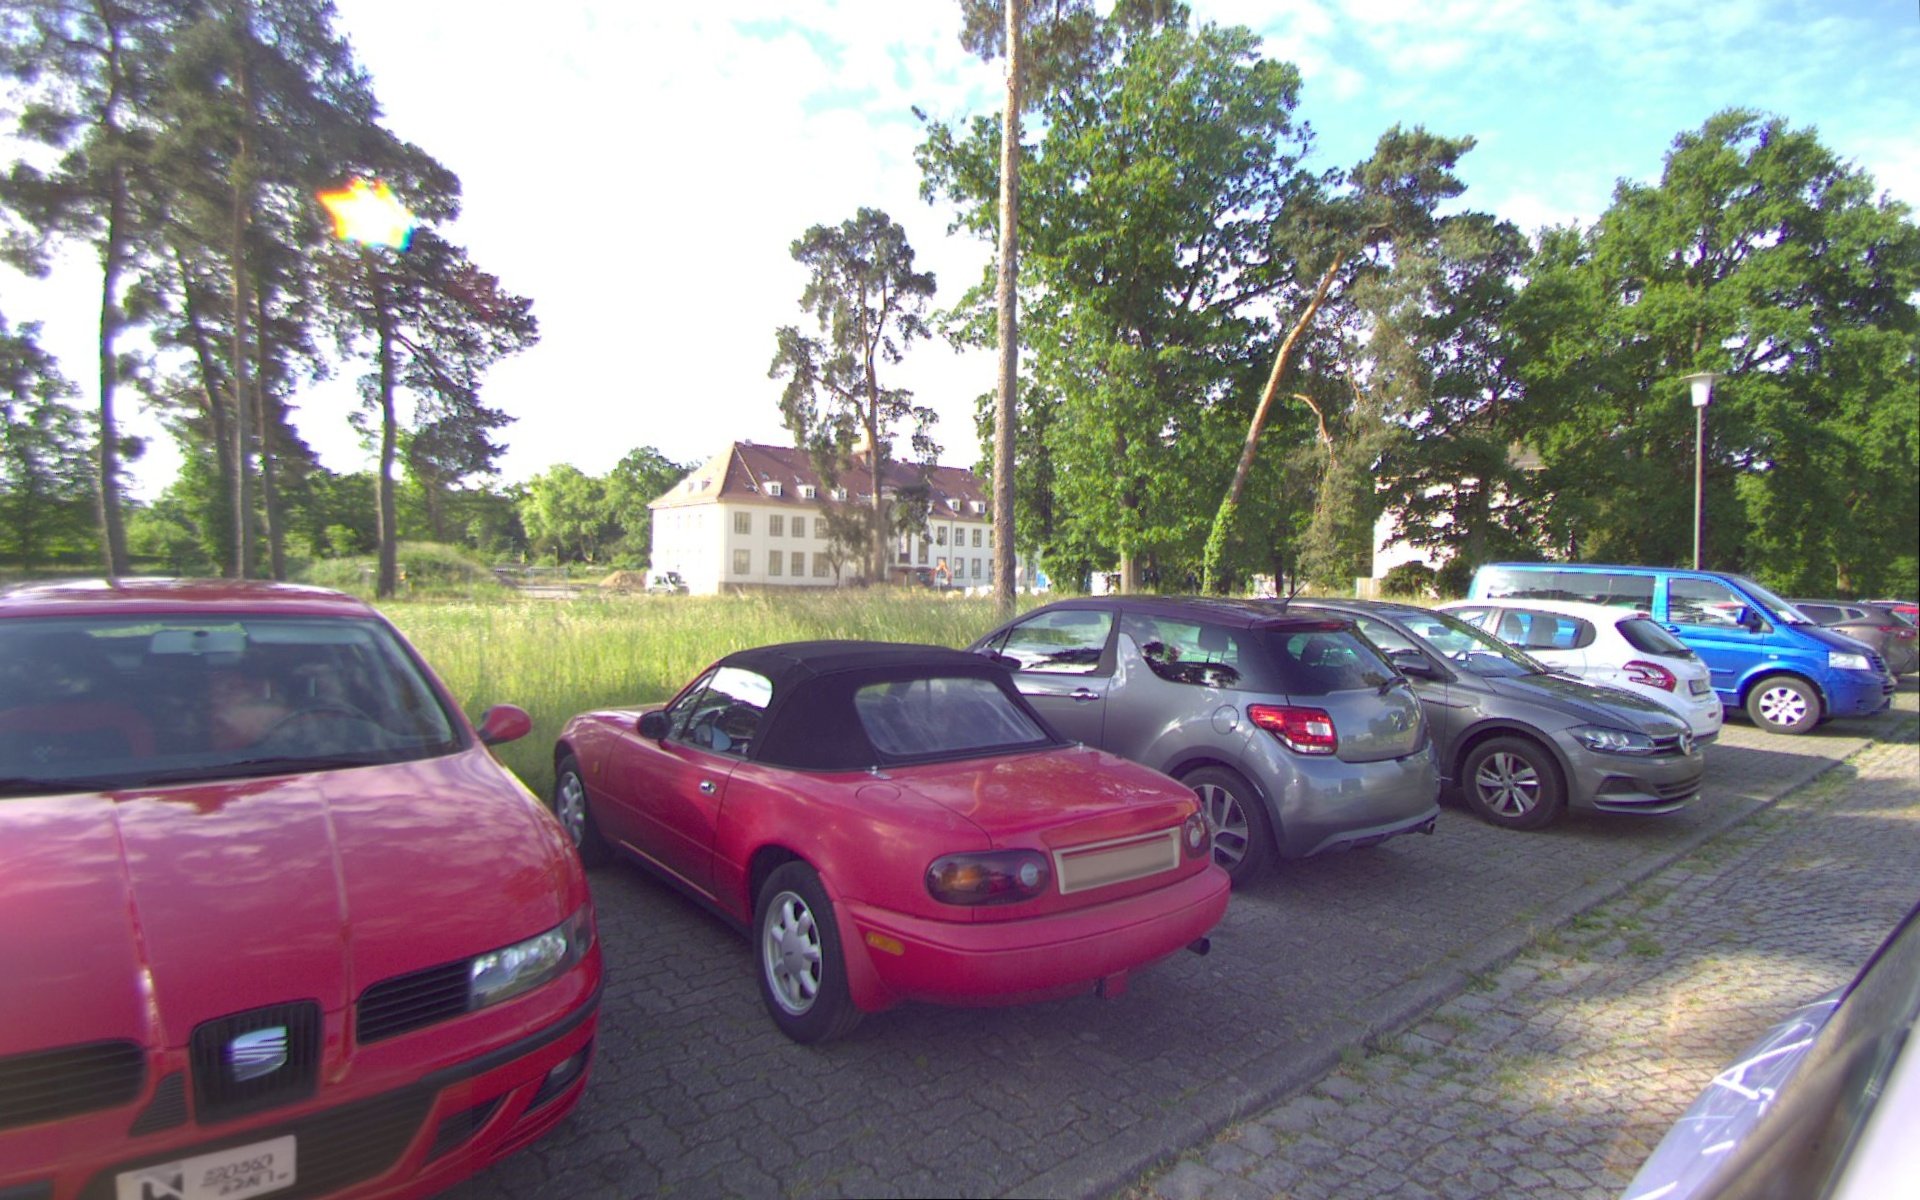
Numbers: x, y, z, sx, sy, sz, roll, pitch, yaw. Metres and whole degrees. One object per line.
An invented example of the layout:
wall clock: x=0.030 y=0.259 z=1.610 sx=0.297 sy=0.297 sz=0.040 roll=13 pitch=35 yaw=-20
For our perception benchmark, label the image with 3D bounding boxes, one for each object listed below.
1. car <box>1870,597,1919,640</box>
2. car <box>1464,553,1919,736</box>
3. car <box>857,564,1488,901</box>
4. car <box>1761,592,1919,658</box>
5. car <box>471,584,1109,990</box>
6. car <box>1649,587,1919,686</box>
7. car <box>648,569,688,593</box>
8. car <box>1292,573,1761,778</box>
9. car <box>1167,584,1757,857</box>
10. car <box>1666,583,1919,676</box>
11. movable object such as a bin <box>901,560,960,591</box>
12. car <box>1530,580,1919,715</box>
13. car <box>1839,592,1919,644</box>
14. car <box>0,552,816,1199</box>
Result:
car: x=34.897 y=0.726 z=35.612 sx=1.754 sy=1.440 sz=4.095 roll=1 pitch=2 yaw=-42
car: x=9.614 y=0.407 z=13.551 sx=1.965 sy=1.959 sz=4.708 roll=0 pitch=3 yaw=-41
car: x=1.133 y=0.568 z=6.650 sx=1.784 sy=1.467 sz=3.715 roll=1 pitch=2 yaw=-40
car: x=23.602 y=0.646 z=26.284 sx=1.821 sy=1.477 sz=4.095 roll=1 pitch=2 yaw=-42
car: x=-1.189 y=0.621 z=5.414 sx=1.715 sy=1.238 sz=3.716 roll=1 pitch=2 yaw=-40
car: x=15.995 y=0.607 z=19.457 sx=1.902 sy=1.617 sz=4.231 roll=-1 pitch=2 yaw=-43
car: x=-28.700 y=-1.886 z=99.517 sx=1.967 sy=2.241 sz=4.422 roll=0 pitch=-1 yaw=-44
car: x=5.507 y=0.585 z=10.202 sx=1.729 sy=1.553 sz=3.716 roll=1 pitch=2 yaw=-40
car: x=3.702 y=0.697 z=7.968 sx=1.823 sy=1.467 sz=3.716 roll=1 pitch=2 yaw=-40
car: x=17.770 y=0.541 z=21.477 sx=1.902 sy=1.617 sz=4.232 roll=-1 pitch=3 yaw=-43
movable object such as a bin: x=-3.274 y=-2.733 z=114.907 sx=6.337 sy=3.343 sz=2.862 roll=-1 pitch=-1 yaw=7
car: x=11.429 y=0.581 z=15.386 sx=1.905 sy=1.596 sz=4.407 roll=0 pitch=3 yaw=-41
car: x=31.295 y=0.621 z=32.743 sx=1.821 sy=1.576 sz=4.095 roll=1 pitch=2 yaw=-42
car: x=-2.226 y=0.642 z=3.006 sx=1.607 sy=1.467 sz=4.137 roll=1 pitch=2 yaw=-40
